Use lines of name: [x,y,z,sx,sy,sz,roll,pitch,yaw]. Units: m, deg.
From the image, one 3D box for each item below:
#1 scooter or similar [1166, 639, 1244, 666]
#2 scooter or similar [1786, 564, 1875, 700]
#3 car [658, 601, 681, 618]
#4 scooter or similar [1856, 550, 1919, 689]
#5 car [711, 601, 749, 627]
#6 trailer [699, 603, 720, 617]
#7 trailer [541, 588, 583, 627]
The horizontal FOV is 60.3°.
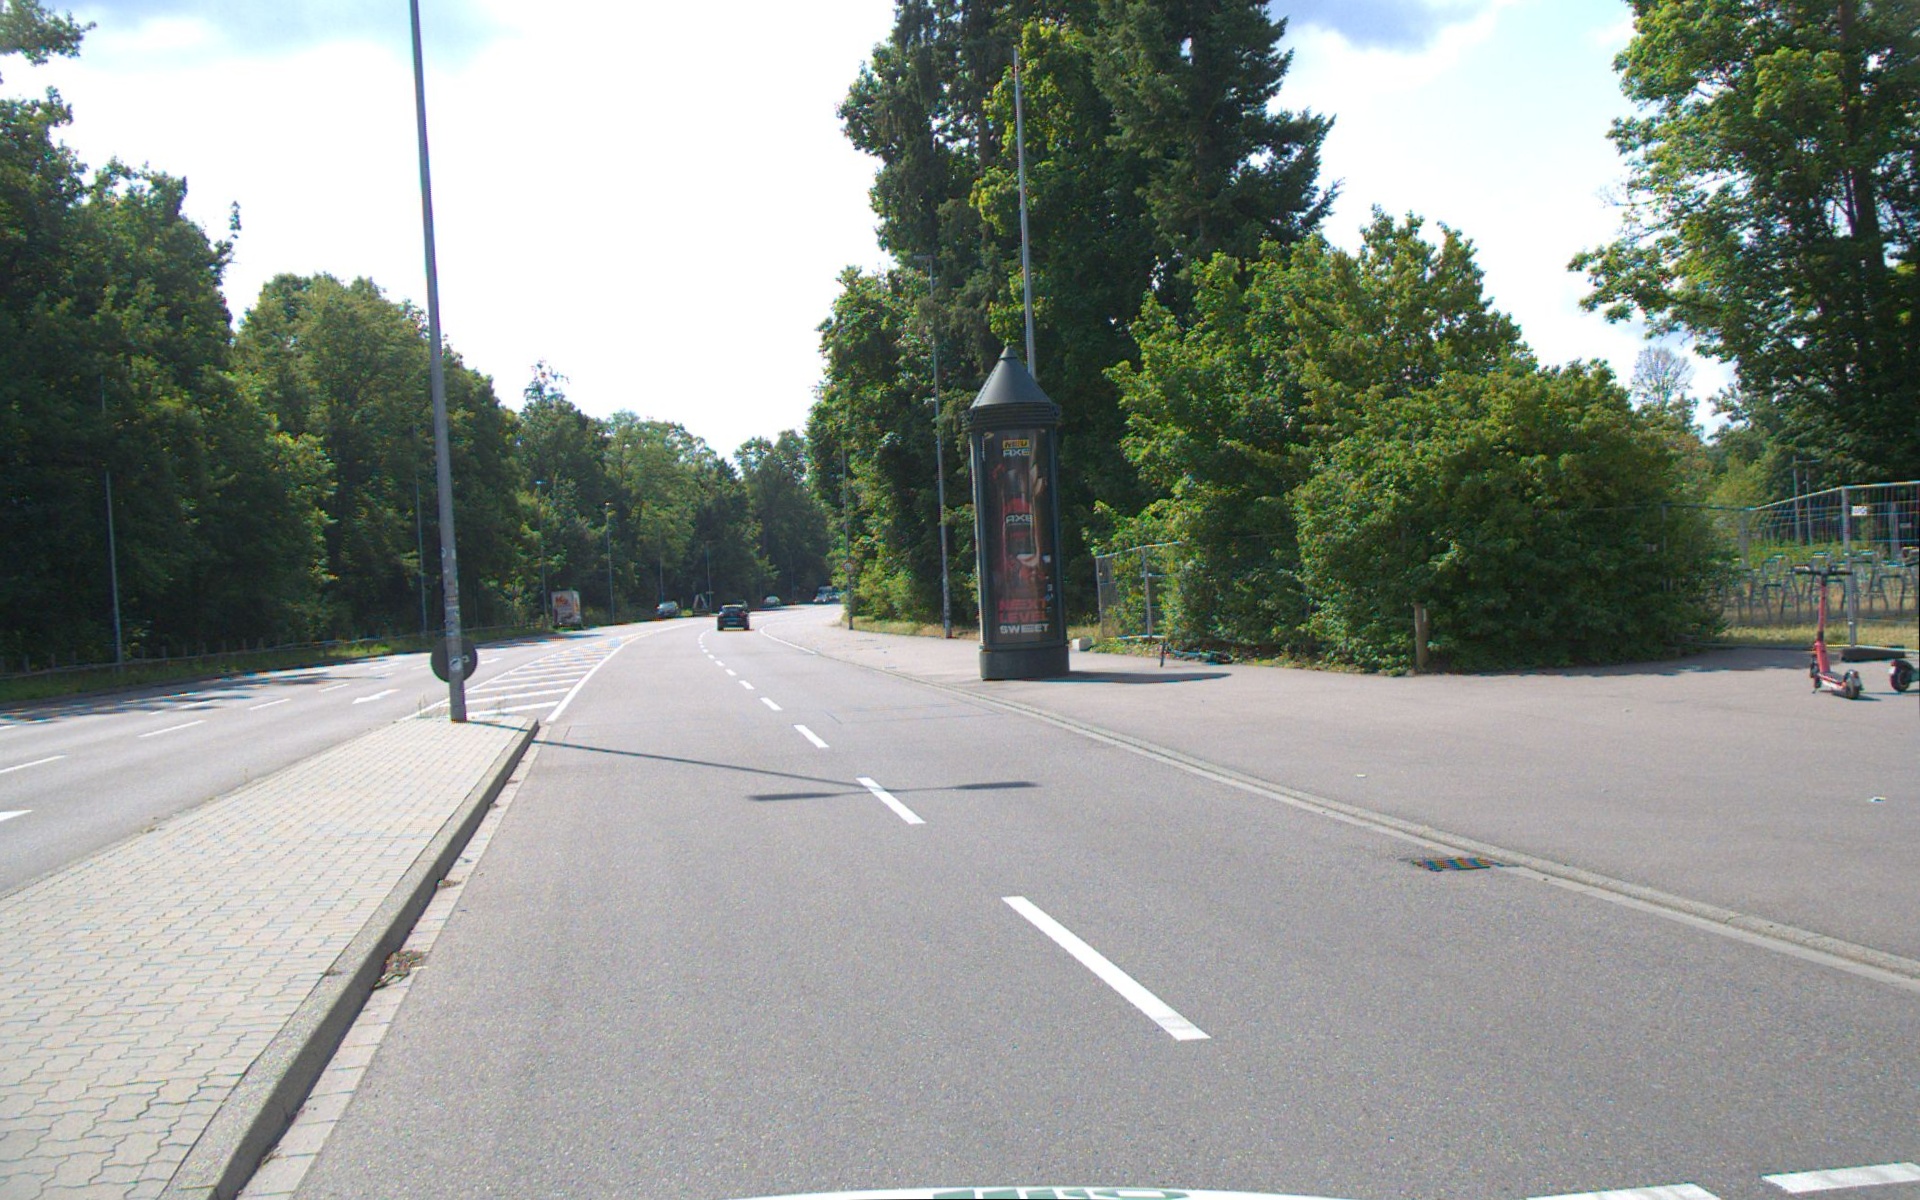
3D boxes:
scooter or similar: [4.170,0.898,28.271,0.838,0.395,1.469,2,0,-13]
scooter or similar: [8.317,0.286,15.836,0.397,1.221,1.313,-4,0,14]
car: [-27.552,0.888,156.839,1.472,1.471,3.529,-2,0,0]
scooter or similar: [9.337,0.154,15.942,1.288,1.273,0.405,-4,0,-19]
car: [-13.268,0.817,95.641,1.564,1.402,3.976,-2,0,1]
trailer: [-27.229,1.104,179.689,1.681,1.378,3.732,-2,0,0]
trailer: [-25.913,0.481,107.878,1.954,2.430,3.997,-2,0,-4]
